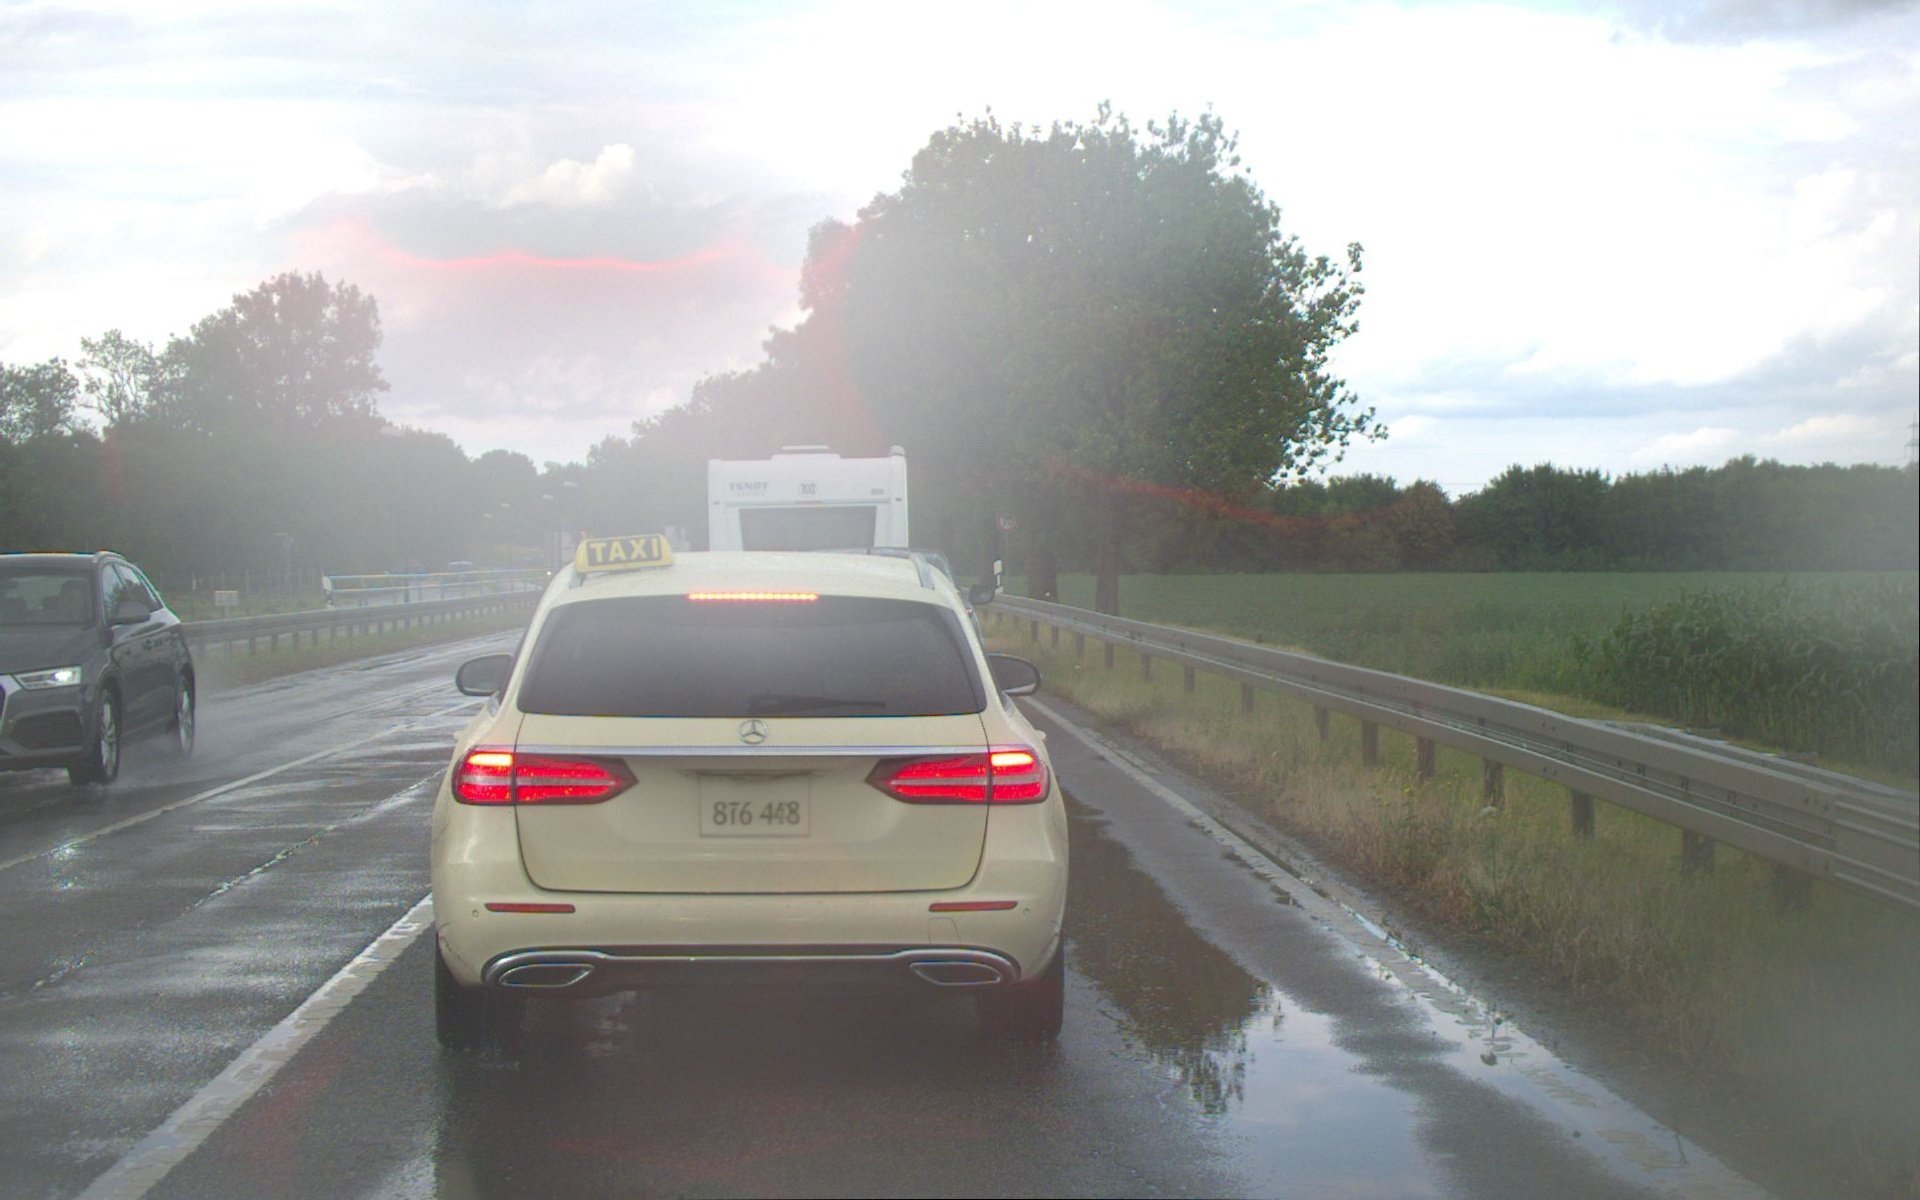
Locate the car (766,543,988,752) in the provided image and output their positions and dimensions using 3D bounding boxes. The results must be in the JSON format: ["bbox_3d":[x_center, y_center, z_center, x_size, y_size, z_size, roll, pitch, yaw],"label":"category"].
[{"bbox_3d":[-0.675,0.319,27.429,1.627,1.524,3.933,-1,1,-2],"label":"car"}]

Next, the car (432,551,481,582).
[{"bbox_3d":[-26.579,-1.780,181.525,1.993,1.645,4.000,0,1,0],"label":"car"}]

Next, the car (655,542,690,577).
[{"bbox_3d":[-16.867,-2.383,201.826,1.993,2.007,4.001,0,1,-4],"label":"car"}]

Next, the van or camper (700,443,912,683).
[{"bbox_3d":[-1.811,-0.472,41.307,2.350,2.671,5.769,0,1,-2],"label":"van or camper"}]

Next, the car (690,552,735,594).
[{"bbox_3d":[-11.973,-1.299,166.171,1.993,2.007,4.001,0,1,-6],"label":"car"}]

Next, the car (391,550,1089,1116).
[{"bbox_3d":[-0.599,0.582,11.075,1.825,1.480,4.145,0,1,-1],"label":"car"}]

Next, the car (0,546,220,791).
[{"bbox_3d":[-6.418,0.419,23.663,1.769,1.518,4.141,-2,1,-1],"label":"car"}]

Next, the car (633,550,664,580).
[{"bbox_3d":[-21.451,-2.439,236.959,1.993,2.007,4.001,0,1,-7],"label":"car"}]

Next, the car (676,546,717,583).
[{"bbox_3d":[-14.534,-1.951,189.639,1.993,2.044,4.000,0,1,-1],"label":"car"}]
